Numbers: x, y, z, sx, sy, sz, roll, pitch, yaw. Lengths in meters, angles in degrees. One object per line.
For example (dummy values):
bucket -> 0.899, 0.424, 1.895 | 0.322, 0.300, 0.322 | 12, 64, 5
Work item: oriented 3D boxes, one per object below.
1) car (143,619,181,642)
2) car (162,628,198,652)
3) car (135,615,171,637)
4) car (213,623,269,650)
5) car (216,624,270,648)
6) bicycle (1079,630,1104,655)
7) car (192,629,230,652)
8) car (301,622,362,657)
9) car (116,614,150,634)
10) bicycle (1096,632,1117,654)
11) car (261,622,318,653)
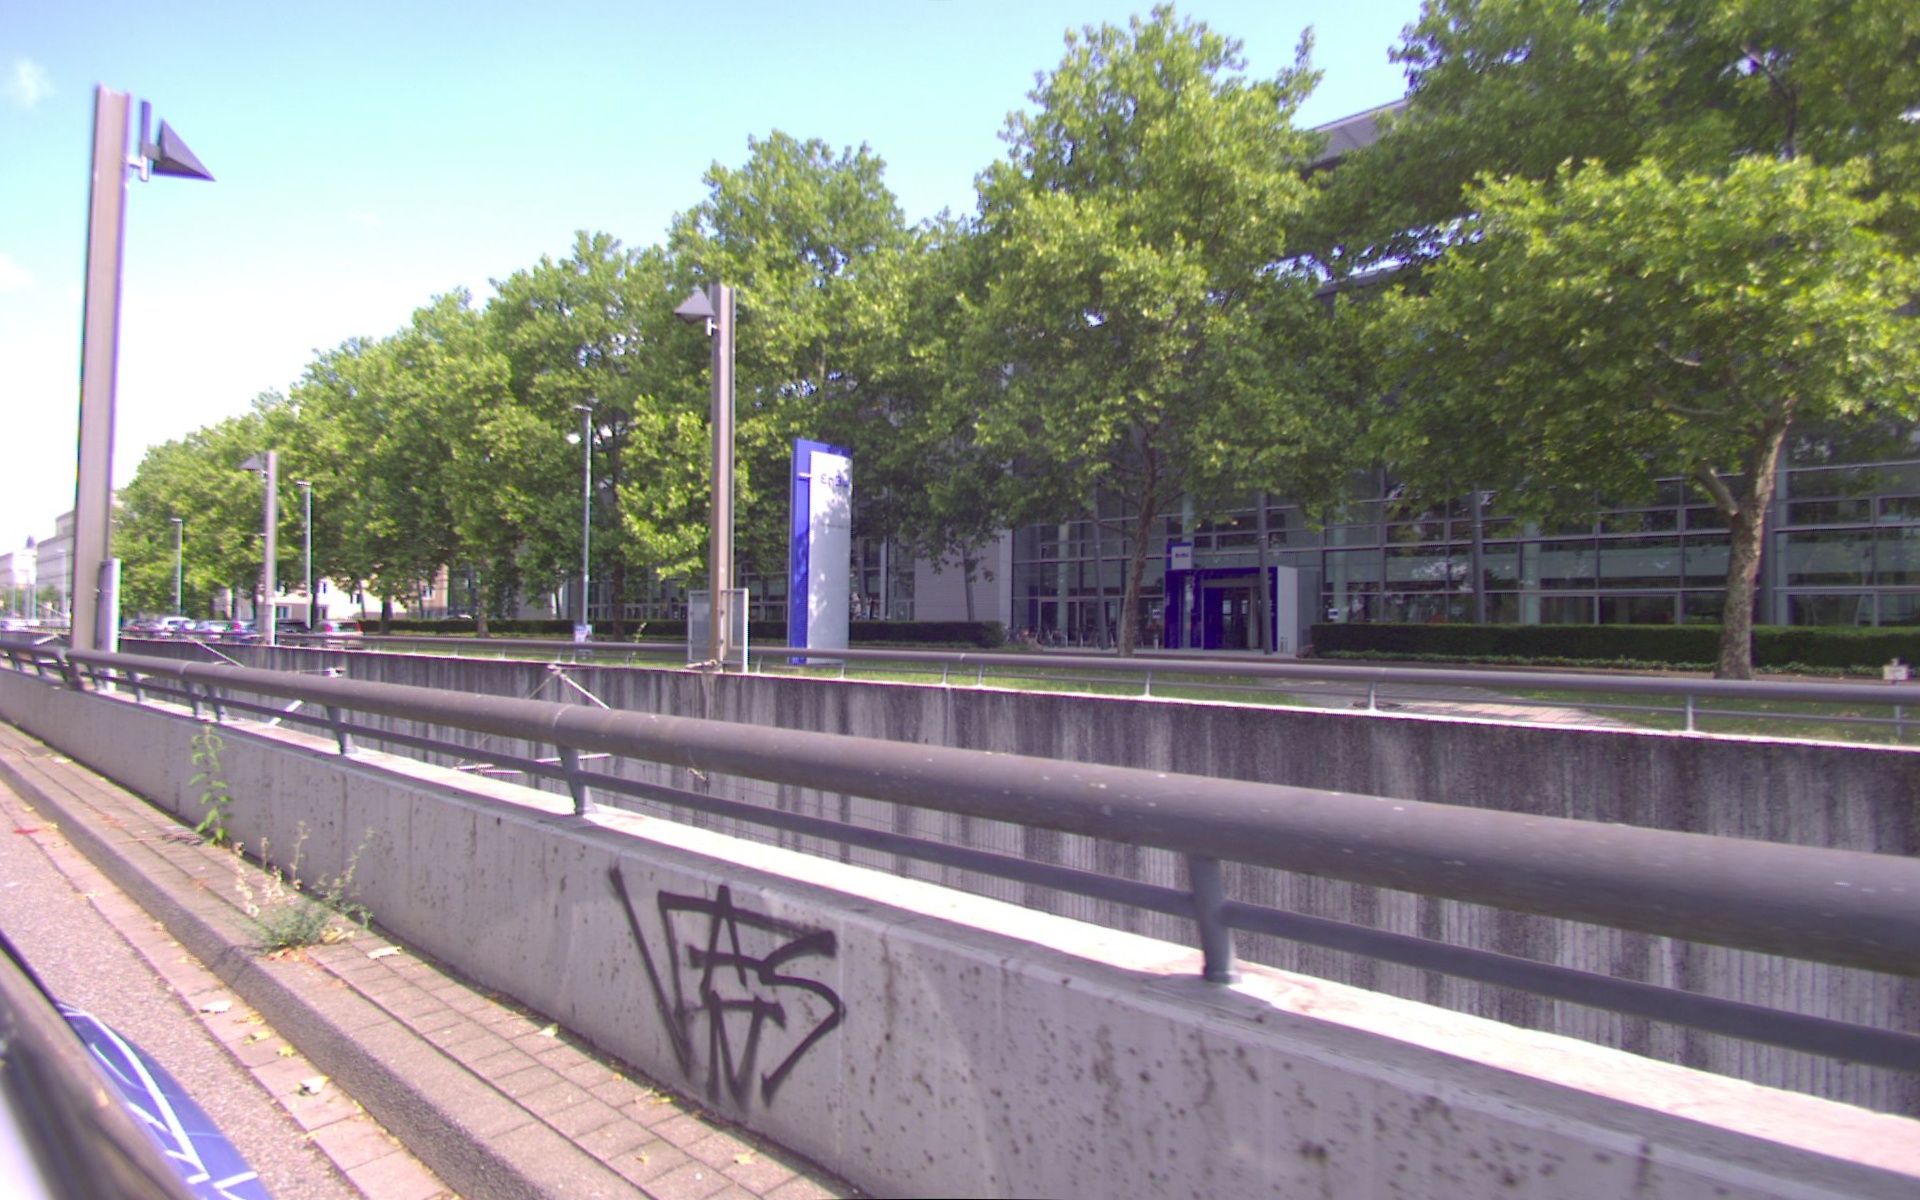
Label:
car -> -49.793, 1.881, 63.164 | 3.184, 1.387, 1.292 | -1, -3, 42
car -> -46.286, 2.361, 60.015 | 2.744, 1.387, 1.152 | -1, -3, 42
car -> -52.882, 1.694, 66.289 | 3.184, 1.387, 1.292 | -1, -3, 42
car -> -38.460, 1.926, 54.083 | 3.894, 1.387, 1.559 | -1, -3, 42
car -> -38.142, 1.925, 53.816 | 3.126, 1.215, 1.590 | -1, -3, 41
bicycle -> 6.329, 2.045, 48.918 | 0.802, 1.186, 2.339 | 0, -2, -2
car -> -41.864, 2.242, 56.578 | 2.548, 1.253, 1.165 | -1, -2, 41
car -> -27.903, 1.748, 44.894 | 3.156, 1.467, 1.402 | -1, -3, 42
car -> -56.755, 1.651, 69.459 | 3.184, 1.387, 1.292 | -1, -3, 42
bicycle -> 7.068, 2.049, 48.951 | 0.586, 1.031, 2.339 | 0, -2, -2
car -> -32.948, 1.819, 49.691 | 3.156, 1.445, 1.561 | -1, -3, 42
